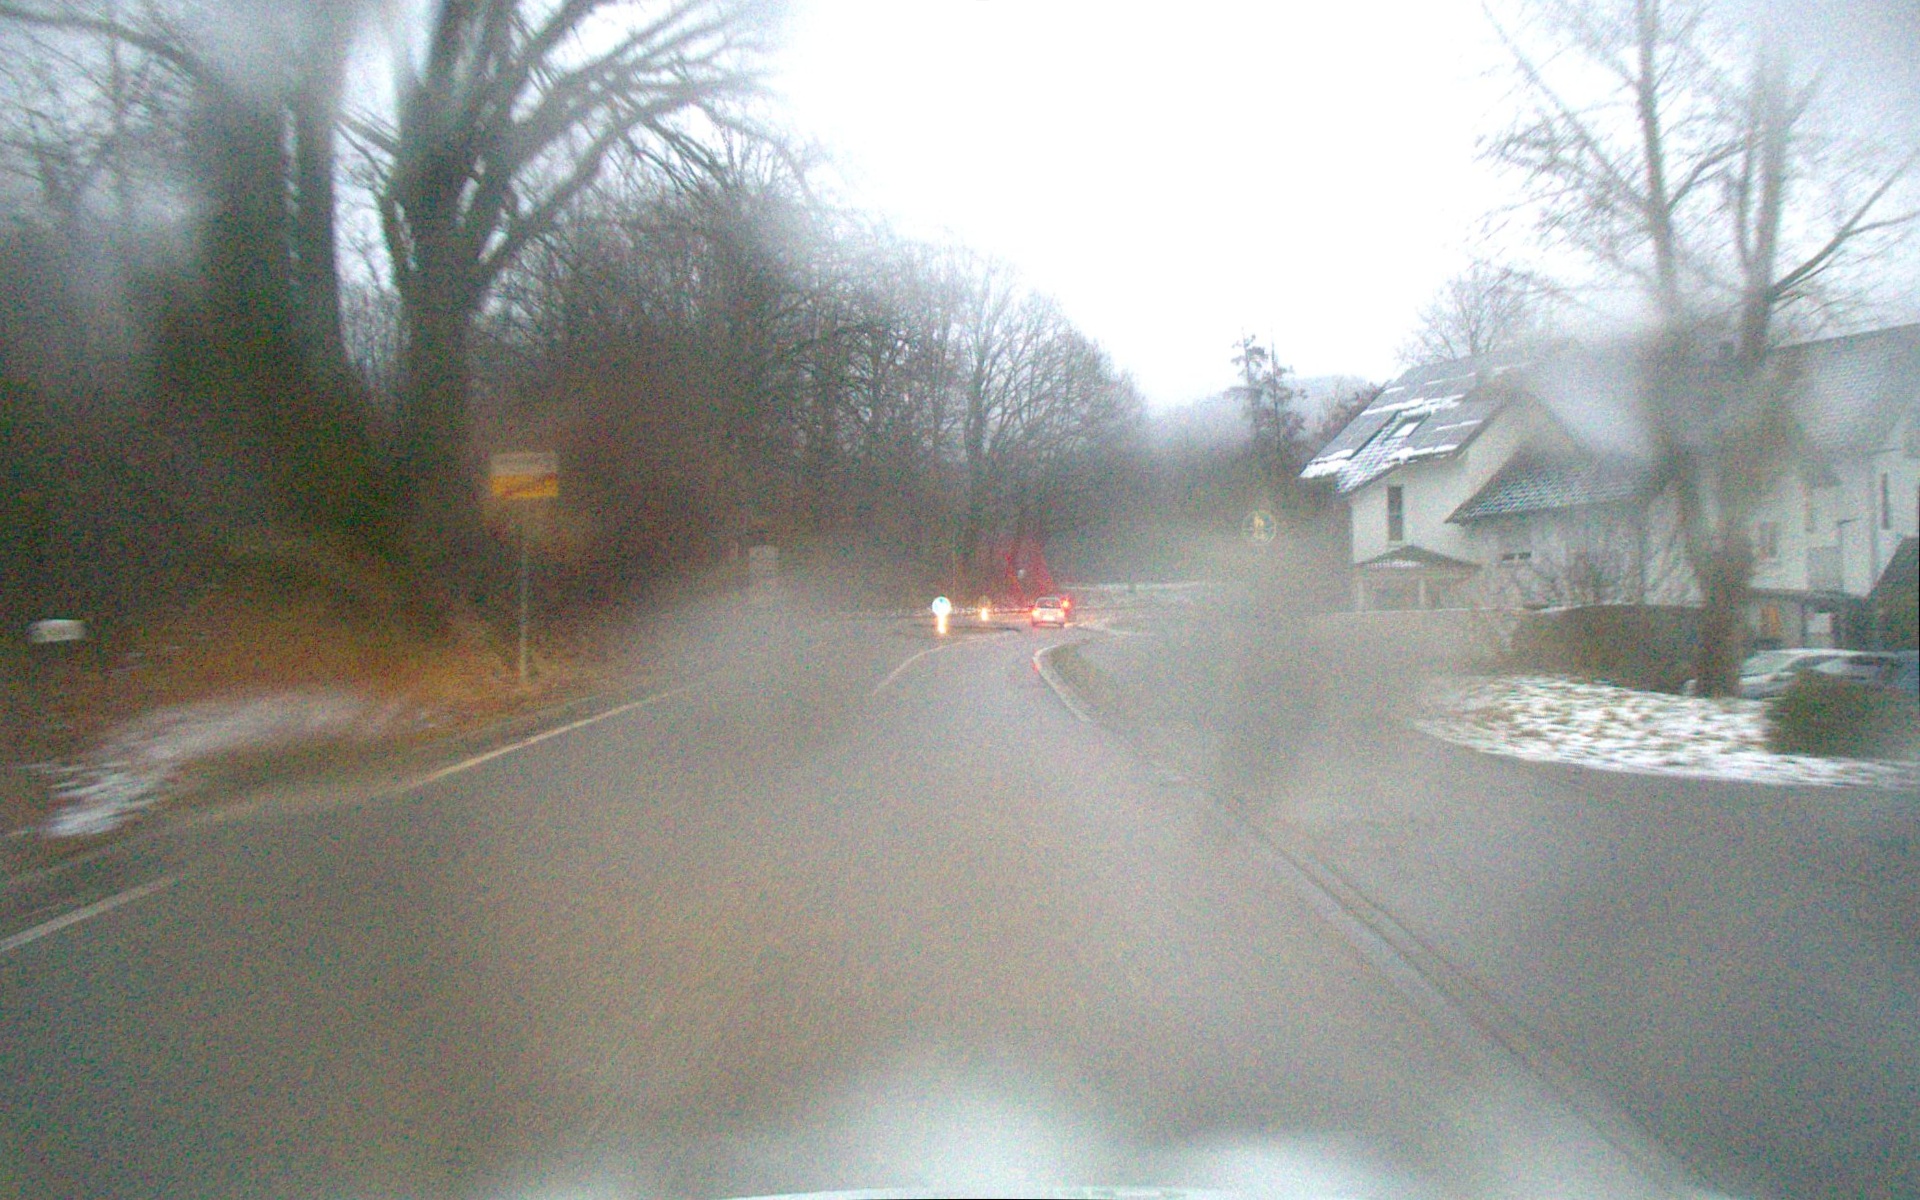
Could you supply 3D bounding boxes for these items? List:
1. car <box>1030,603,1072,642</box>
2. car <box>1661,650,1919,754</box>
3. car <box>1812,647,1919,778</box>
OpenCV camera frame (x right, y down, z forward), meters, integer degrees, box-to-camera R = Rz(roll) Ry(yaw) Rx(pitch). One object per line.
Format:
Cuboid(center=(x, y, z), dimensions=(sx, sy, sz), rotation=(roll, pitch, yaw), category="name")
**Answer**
Cuboid(center=(4.470, 1.078, 80.882), dimensions=(1.892, 1.812, 4.002), rotation=(0, 0, 5), category="car")
Cuboid(center=(14.013, 1.683, 27.802), dimensions=(3.707, 1.625, 1.802), rotation=(0, 0, -4), category="car")
Cuboid(center=(13.769, 1.476, 22.271), dimensions=(3.707, 1.625, 1.802), rotation=(0, 0, -4), category="car")
